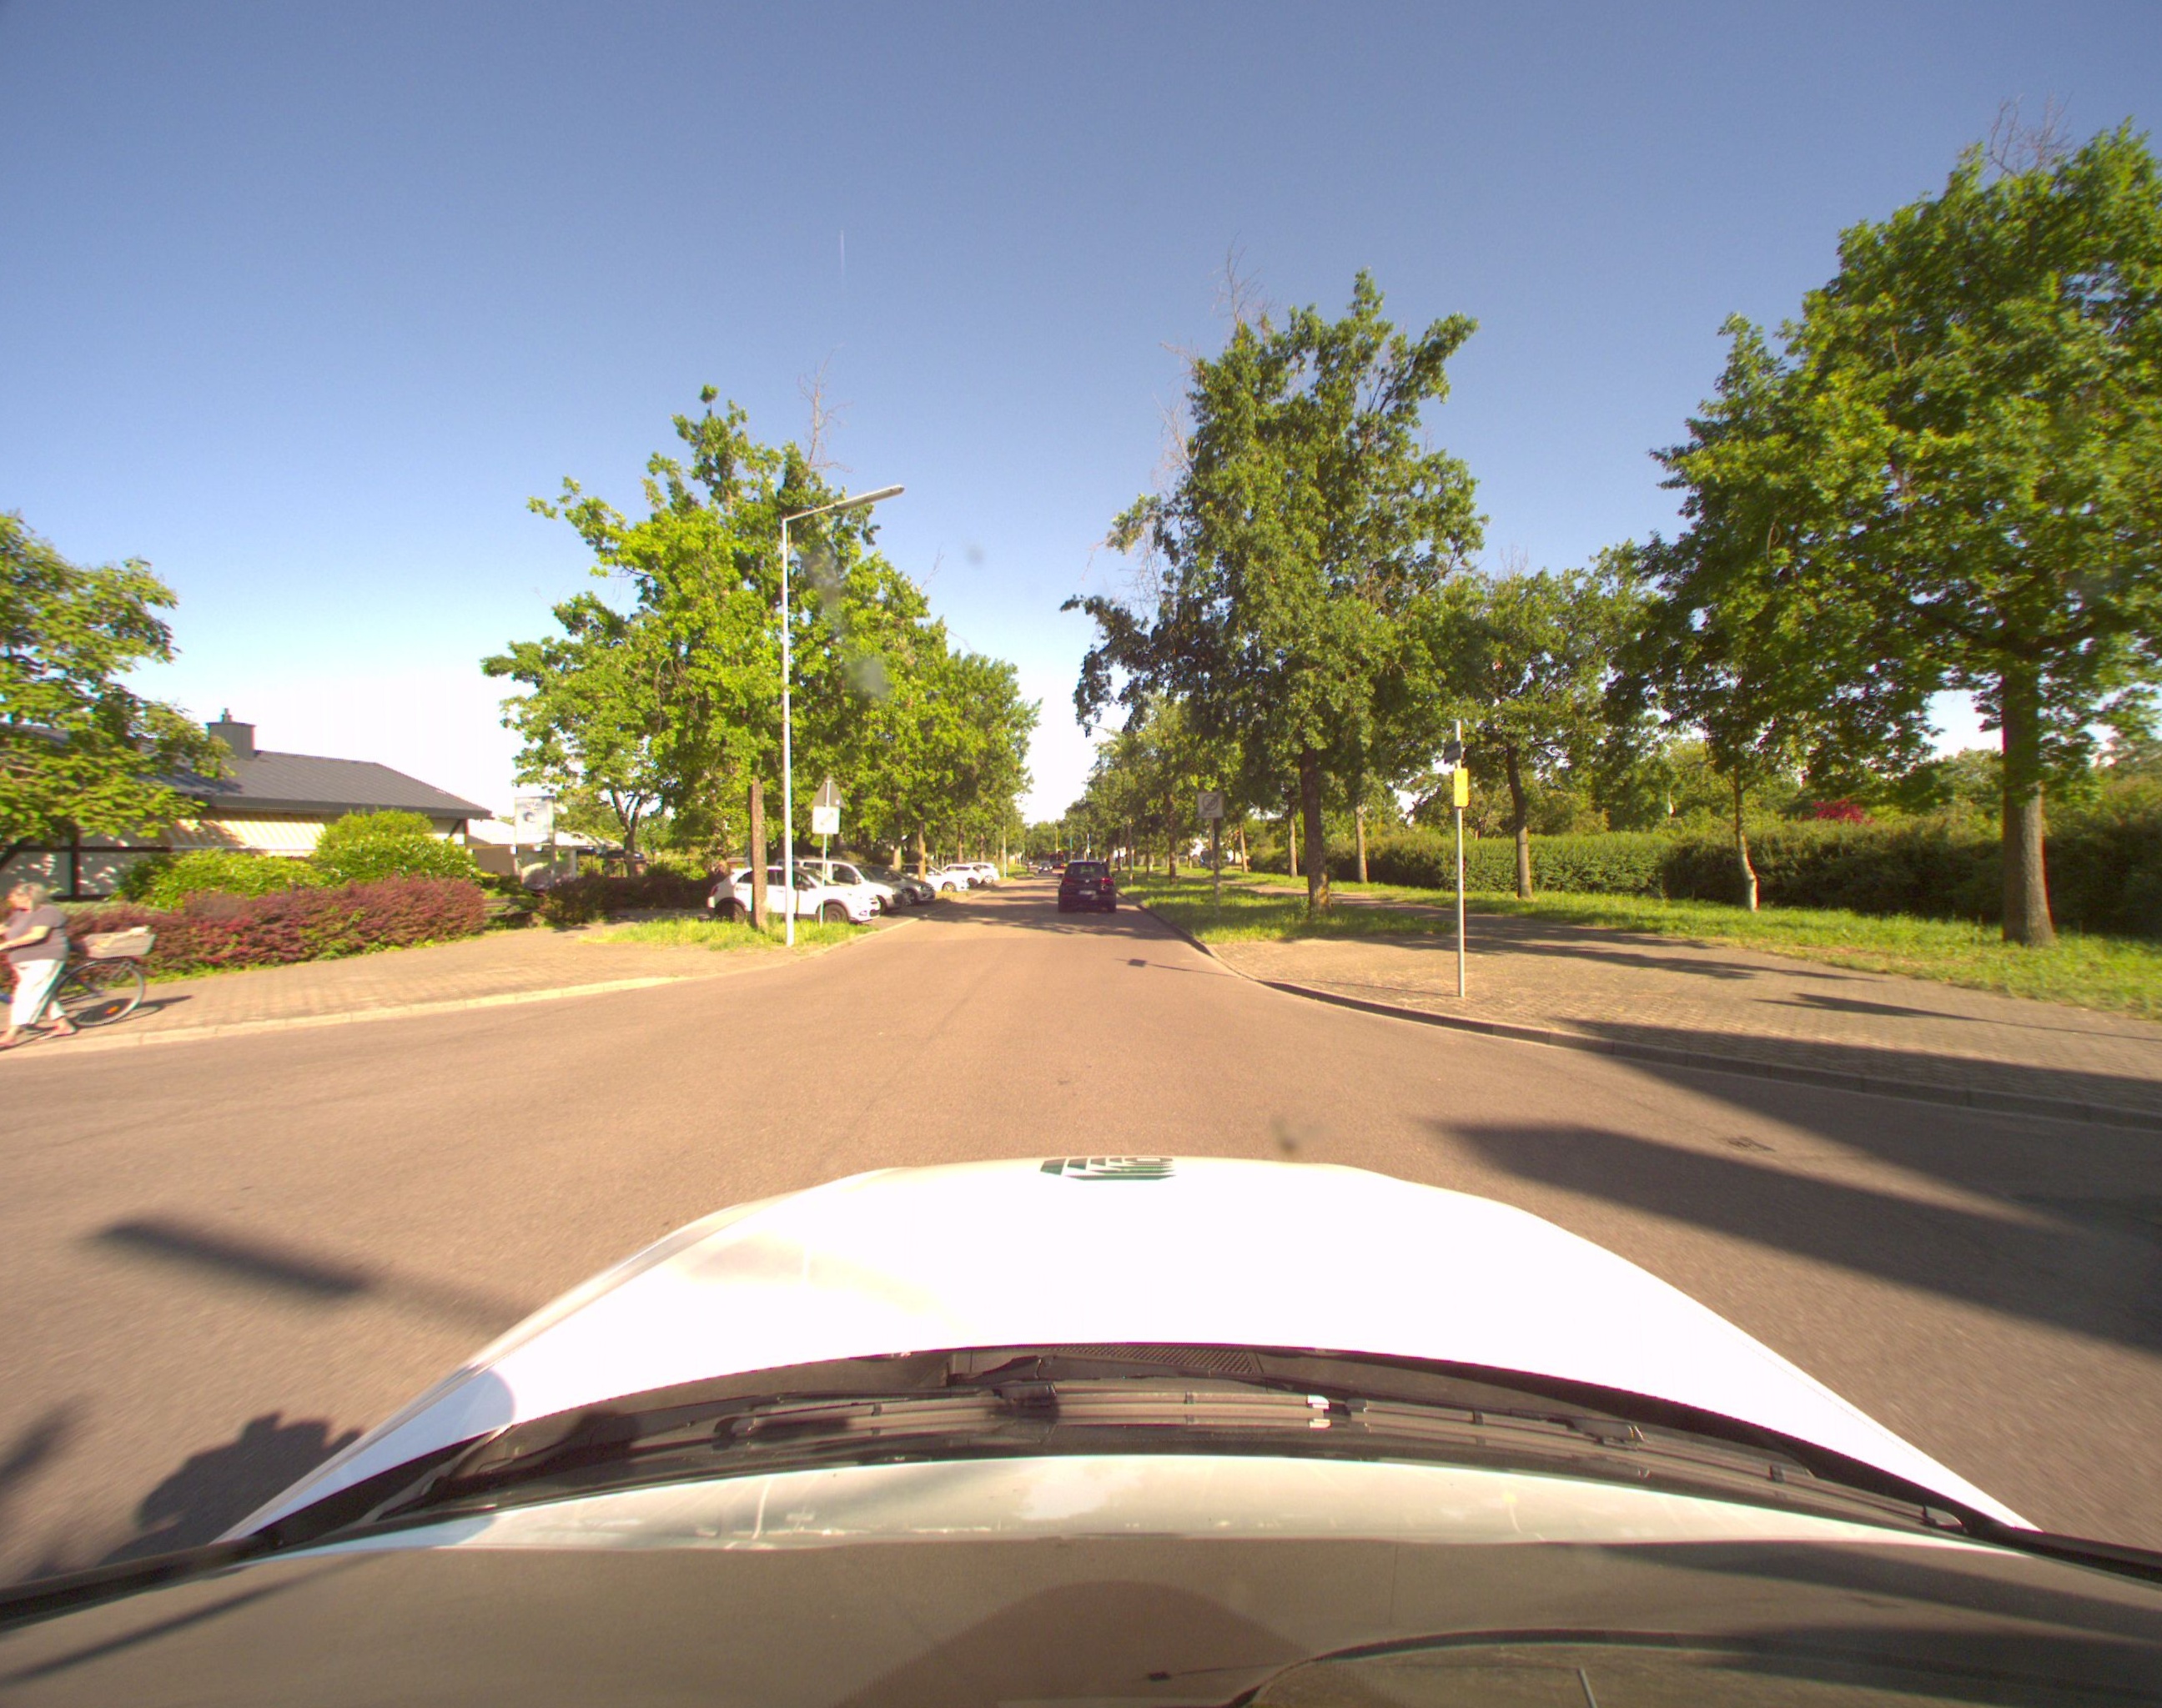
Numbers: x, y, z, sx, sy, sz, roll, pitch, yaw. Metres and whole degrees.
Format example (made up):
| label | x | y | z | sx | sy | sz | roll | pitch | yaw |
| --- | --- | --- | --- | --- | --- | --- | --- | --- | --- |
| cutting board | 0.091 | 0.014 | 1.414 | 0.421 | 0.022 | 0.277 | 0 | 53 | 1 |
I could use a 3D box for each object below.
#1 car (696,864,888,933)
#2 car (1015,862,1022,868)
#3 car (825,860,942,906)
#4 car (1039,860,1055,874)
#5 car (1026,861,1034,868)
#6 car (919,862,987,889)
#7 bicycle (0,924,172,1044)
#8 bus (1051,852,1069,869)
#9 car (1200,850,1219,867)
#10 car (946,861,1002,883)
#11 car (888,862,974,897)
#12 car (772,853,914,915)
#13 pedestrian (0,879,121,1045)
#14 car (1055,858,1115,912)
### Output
| label | x | y | z | sx | sy | sz | roll | pitch | yaw |
| --- | --- | --- | --- | --- | --- | --- | --- | --- | --- |
| car | -7.354 | 1.103 | 21.037 | 4.228 | 1.623 | 1.896 | -1 | -1 | 0 |
| car | -18.501 | 3.226 | 242.692 | 1.811 | 1.775 | 3.775 | -1 | -1 | -1 |
| car | -7.562 | 1.101 | 31.445 | 4.003 | 1.647 | 1.896 | -1 | 0 | 0 |
| car | -4.329 | 1.666 | 103.815 | 1.846 | 1.693 | 3.956 | -1 | 0 | 0 |
| car | -12.347 | 2.541 | 197.636 | 1.819 | 1.551 | 3.689 | -1 | 0 | 0 |
| car | -8.097 | 1.352 | 51.920 | 4.003 | 1.647 | 1.811 | -1 | -1 | 0 |
| bicycle | -10.515 | 1.307 | 8.202 | 0.444 | 1.039 | 1.896 | -1 | 0 | 6 |
| bus | -3.838 | 1.217 | 150.774 | 2.918 | 3.004 | 5.737 | -1 | -1 | 1 |
| car | 15.562 | 0.526 | 98.552 | 2.044 | 2.013 | 4.006 | -1 | 0 | 6 |
| car | -8.208 | 1.381 | 62.589 | 4.003 | 1.648 | 1.811 | -1 | -1 | 0 |
| car | -7.601 | 1.278 | 41.498 | 4.003 | 1.647 | 1.811 | -1 | -1 | 0 |
| car | -7.631 | 0.943 | 26.419 | 4.003 | 1.839 | 1.896 | -1 | 0 | 0 |
| pedestrian | -10.257 | 1.034 | 8.103 | 0.439 | 1.557 | 0.801 | -1 | -1 | 3 |
| car | 0.127 | 0.964 | 26.905 | 1.832 | 1.636 | 3.957 | 0 | 0 | 0 |
